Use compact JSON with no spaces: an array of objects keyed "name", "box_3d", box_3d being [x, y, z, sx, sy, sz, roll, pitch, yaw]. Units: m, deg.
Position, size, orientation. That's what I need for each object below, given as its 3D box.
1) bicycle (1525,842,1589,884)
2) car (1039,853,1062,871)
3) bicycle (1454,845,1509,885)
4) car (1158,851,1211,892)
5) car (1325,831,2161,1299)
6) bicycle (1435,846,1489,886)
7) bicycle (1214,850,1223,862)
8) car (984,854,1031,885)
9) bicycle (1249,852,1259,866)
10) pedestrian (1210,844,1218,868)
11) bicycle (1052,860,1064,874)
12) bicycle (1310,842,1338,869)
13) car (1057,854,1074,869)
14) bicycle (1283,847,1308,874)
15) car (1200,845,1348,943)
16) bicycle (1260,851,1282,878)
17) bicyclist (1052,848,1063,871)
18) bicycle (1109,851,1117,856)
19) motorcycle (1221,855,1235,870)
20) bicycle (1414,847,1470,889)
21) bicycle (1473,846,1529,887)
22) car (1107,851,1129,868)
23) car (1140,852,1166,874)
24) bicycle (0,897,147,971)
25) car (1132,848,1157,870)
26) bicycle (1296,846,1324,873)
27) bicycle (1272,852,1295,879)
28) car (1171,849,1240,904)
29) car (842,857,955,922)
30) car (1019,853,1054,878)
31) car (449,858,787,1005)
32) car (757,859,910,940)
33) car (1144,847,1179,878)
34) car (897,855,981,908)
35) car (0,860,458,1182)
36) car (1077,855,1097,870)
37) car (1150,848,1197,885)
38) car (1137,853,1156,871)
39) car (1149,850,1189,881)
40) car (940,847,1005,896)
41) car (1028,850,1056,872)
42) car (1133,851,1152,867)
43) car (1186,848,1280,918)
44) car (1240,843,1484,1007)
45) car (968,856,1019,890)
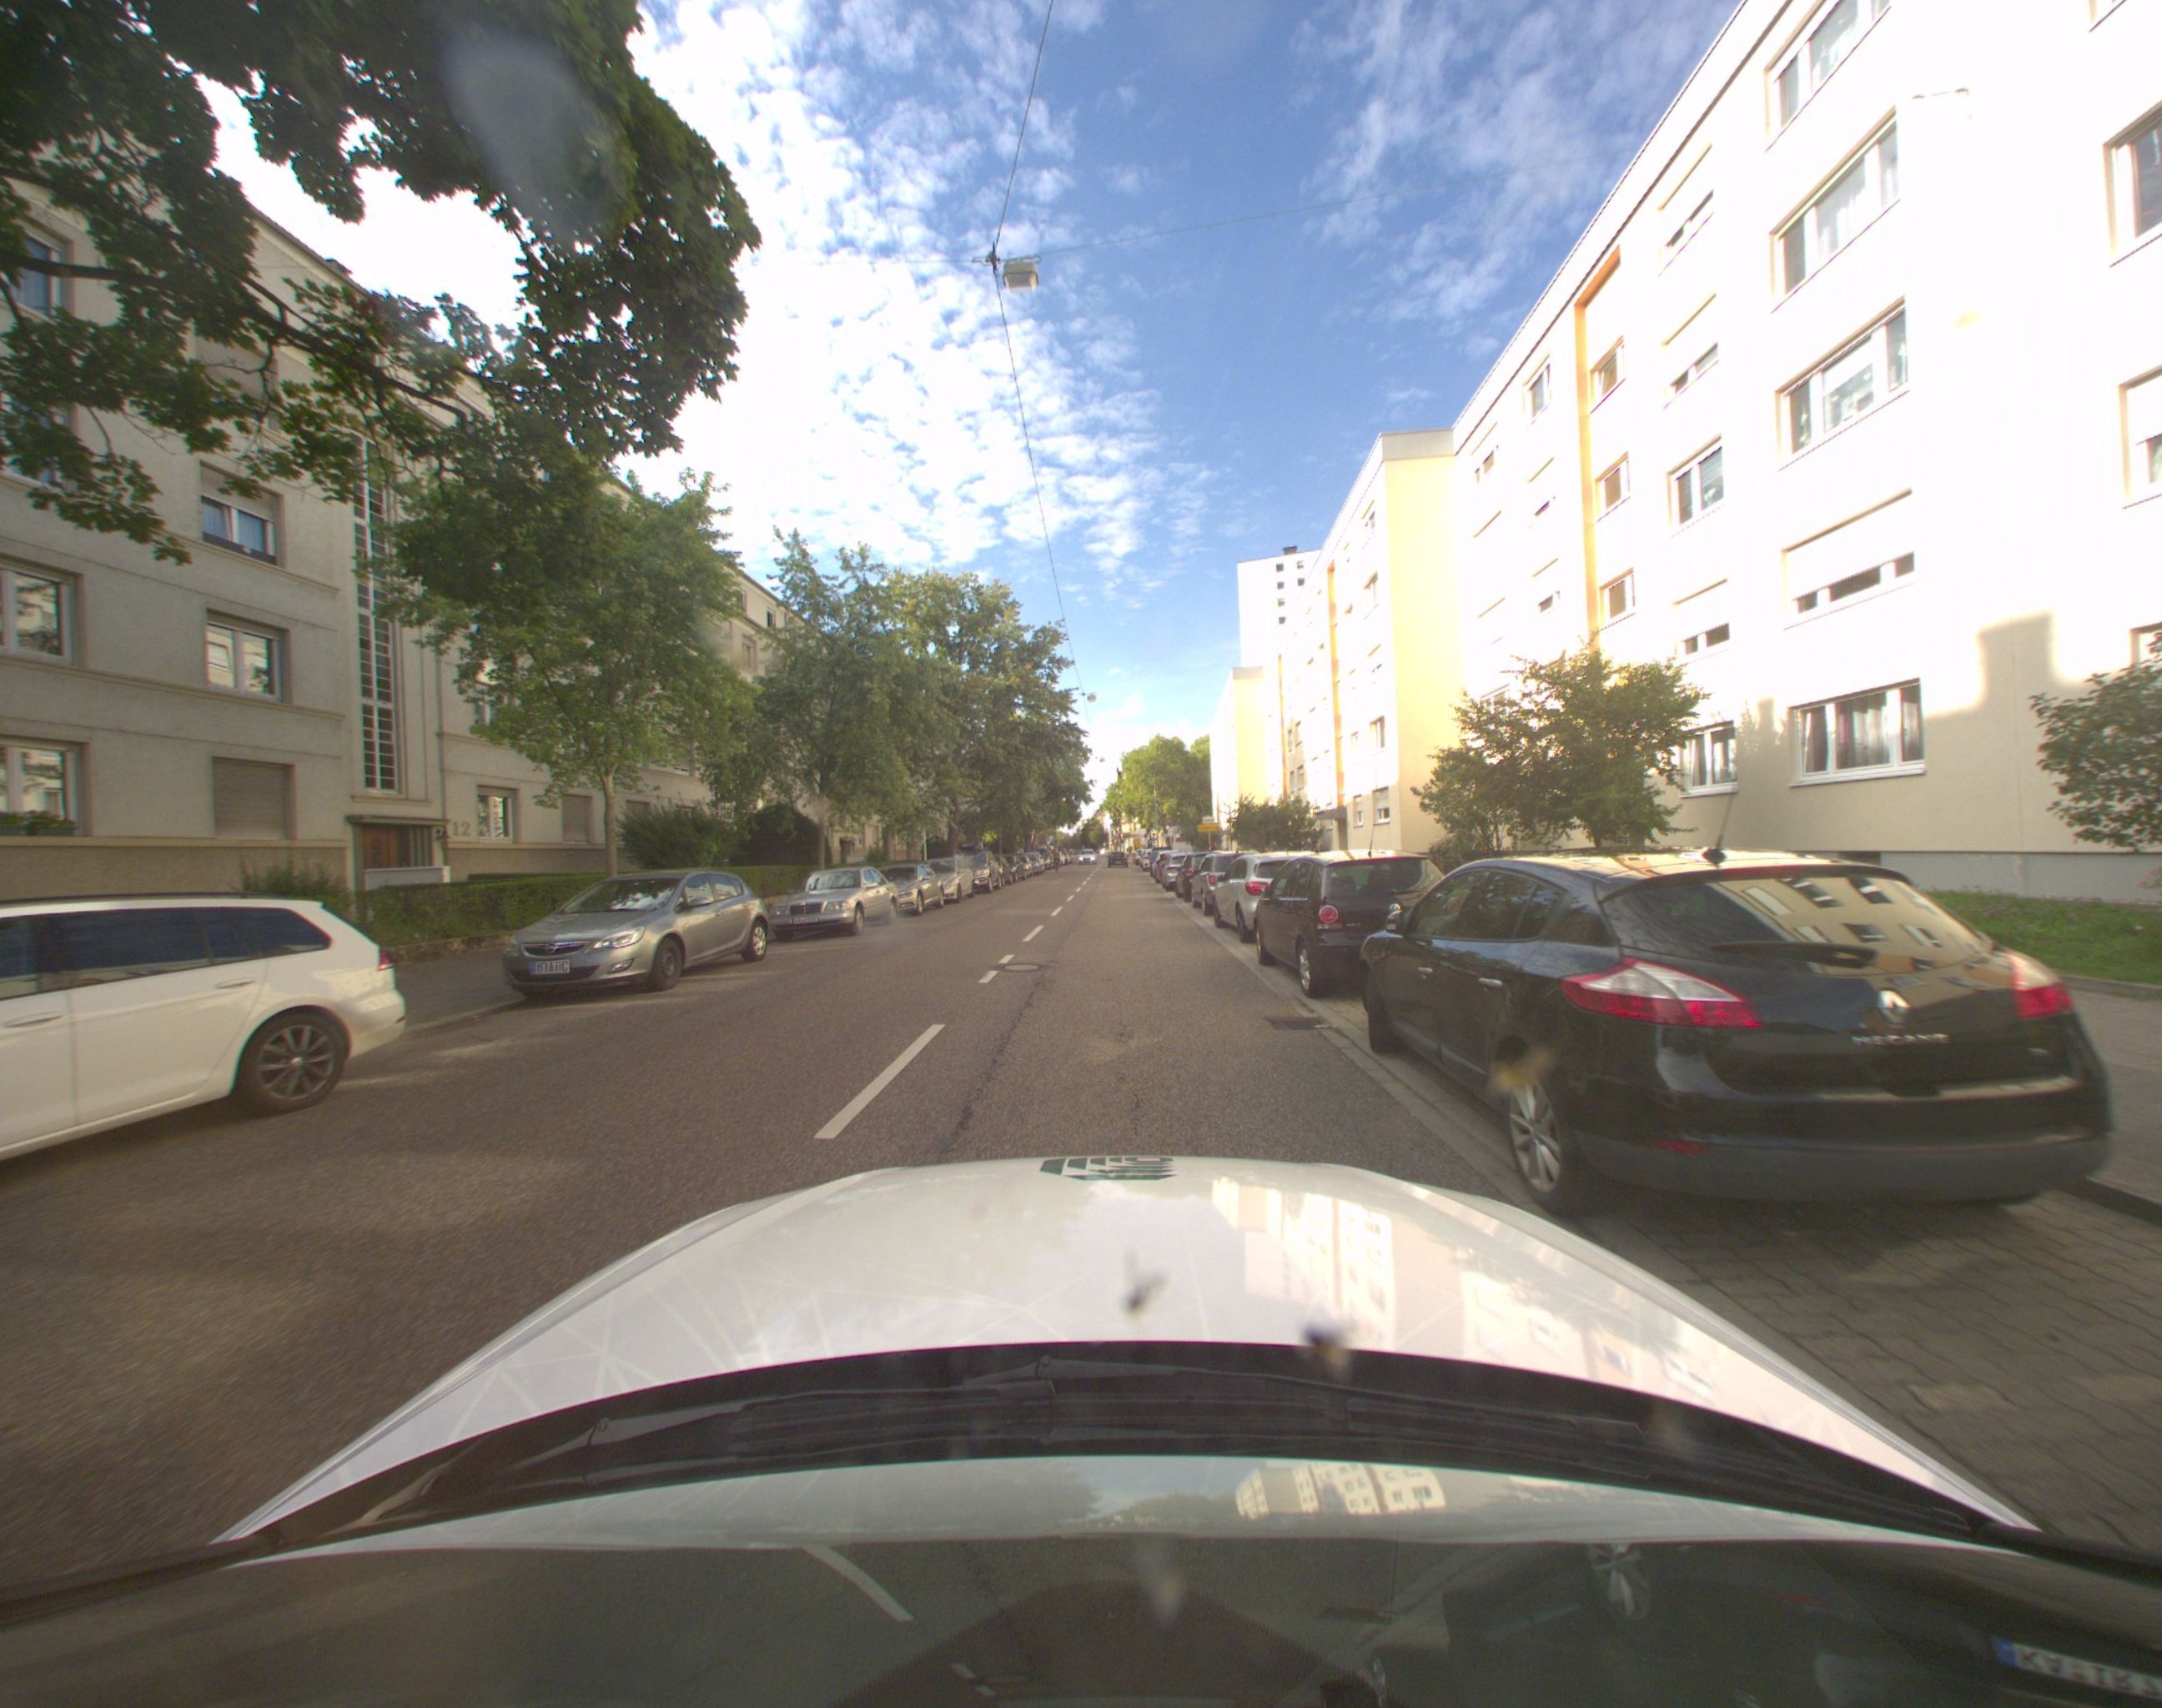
[{"name":"bicycle","box_3d":[12.954,0.235,22.233,0.499,1.030,2.136,-5,0,3]},{"name":"car","box_3d":[-2.755,0.684,74.439,1.693,1.487,3.851,-4,0,3]},{"name":"bicycle","box_3d":[10.999,0.294,22.440,0.499,1.030,2.070,-5,0,2]},{"name":"car","box_3d":[4.003,0.640,32.042,1.655,1.416,4.061,-3,0,2]},{"name":"car","box_3d":[2.748,0.675,4.691,1.676,1.435,4.212,-3,0,5]},{"name":"bicycle","box_3d":[10.479,0.317,22.461,0.499,1.030,2.097,-5,0,2]},{"name":"bicycle","box_3d":[13.287,0.184,78.737,0.594,1.115,2.211,-3,0,3]},{"name":"car","box_3d":[-4.028,0.824,45.291,1.677,1.480,4.458,-5,0,5]},{"name":"bicycle","box_3d":[12.636,0.366,59.461,0.457,0.927,1.517,-3,0,2]},{"name":"pedestrian","box_3d":[9.641,0.167,59.065,0.539,1.721,0.773,-2,0,8]},{"name":"bicycle","box_3d":[-1.607,0.897,56.456,0.639,0.923,1.859,-2,0,3]},{"name":"bicycle","box_3d":[12.302,0.073,41.355,0.723,1.291,2.637,-1,0,3]},{"name":"car","box_3d":[-1.884,0.928,98.426,1.793,1.620,3.803,-4,0,1]},{"name":"bicycle","box_3d":[10.865,0.334,41.333,0.593,1.291,2.637,-5,0,3]},{"name":"car","box_3d":[3.363,0.625,14.985,1.694,1.463,4.180,-3,0,0]},{"name":"bicycle","box_3d":[9.635,0.508,41.371,0.601,1.291,2.637,-3,0,3]},{"name":"bicyclist","box_3d":[-1.595,0.379,56.515,0.638,1.600,0.991,-2,0,3]},{"name":"bicycle","box_3d":[8.515,-0.115,217.407,2.023,1.082,0.618,-2,0,-11]},{"name":"motorcycle","box_3d":[10.766,0.589,59.540,0.628,1.045,2.395,-1,0,2]},{"name":"bicycle","box_3d":[9.886,0.370,22.374,0.591,1.030,2.120,-5,0,2]},{"name":"bicycle","box_3d":[11.513,0.323,22.405,0.499,1.030,2.027,-5,0,2]},{"name":"car","box_3d":[3.251,0.490,71.205,1.744,1.413,4.004,-1,0,4]},{"name":"car","box_3d":[5.152,0.621,58.345,1.721,1.487,4.646,-1,0,4]},{"name":"bicycle","box_3d":[-17.356,1.327,13.631,0.631,1.060,2.405,-1,0,2]},{"name":"car","box_3d":[4.985,0.397,64.342,1.722,1.580,4.119,-3,0,2]},{"name":"bicycle","box_3d":[11.586,0.274,41.313,0.723,1.291,2.637,-3,0,3]},{"name":"bicycle","box_3d":[10.272,0.547,41.372,0.601,1.291,2.637,-4,0,3]},{"name":"car","box_3d":[3.839,0.667,25.690,1.655,1.491,3.944,-3,0,2]},{"name":"car","box_3d":[-5.100,0.925,23.533,1.848,1.486,4.947,-5,0,2]},{"name":"car","box_3d":[-2.971,0.779,55.211,1.606,1.468,4.021,-6,0,6]},{"name":"car","box_3d":[-5.924,0.858,11.275,1.849,1.486,4.685,-3,0,1]},{"name":"car","box_3d":[-5.286,0.903,18.084,1.732,1.393,4.668,-4,0,2]},{"name":"car","box_3d":[4.727,0.468,48.184,1.722,1.649,4.118,-3,0,2]},{"name":"car","box_3d":[-4.880,0.900,28.684,1.847,1.573,4.464,-3,0,3]},{"name":"car","box_3d":[-6.057,0.887,4.116,1.848,1.486,4.801,-5,0,2]},{"name":"car","box_3d":[0.679,0.867,85.947,1.851,1.528,4.014,-2,0,3]},{"name":"car","box_3d":[4.208,0.546,37.588,1.722,1.515,4.191,-3,0,1]},{"name":"car","box_3d":[5.883,0.667,73.199,1.544,1.557,3.471,-1,0,3]},{"name":"car","box_3d":[4.624,0.576,43.319,1.722,1.461,4.118,-3,0,2]},{"name":"car","box_3d":[-4.509,0.690,34.535,1.870,1.793,4.972,-4,0,1]},{"name":"car","box_3d":[-3.299,0.603,69.327,1.791,1.668,4.487,-4,0,3]},{"name":"car","box_3d":[5.990,0.459,78.852,1.682,1.528,4.243,-2,0,5]},{"name":"car","box_3d":[3.679,0.647,20.397,1.677,1.485,4.296,-3,0,2]},{"name":"car","box_3d":[3.081,0.675,9.774,1.677,1.501,3.876,-3,0,2]},{"name":"car","box_3d":[-4.333,0.902,40.853,1.678,1.480,4.124,-5,0,4]}]
